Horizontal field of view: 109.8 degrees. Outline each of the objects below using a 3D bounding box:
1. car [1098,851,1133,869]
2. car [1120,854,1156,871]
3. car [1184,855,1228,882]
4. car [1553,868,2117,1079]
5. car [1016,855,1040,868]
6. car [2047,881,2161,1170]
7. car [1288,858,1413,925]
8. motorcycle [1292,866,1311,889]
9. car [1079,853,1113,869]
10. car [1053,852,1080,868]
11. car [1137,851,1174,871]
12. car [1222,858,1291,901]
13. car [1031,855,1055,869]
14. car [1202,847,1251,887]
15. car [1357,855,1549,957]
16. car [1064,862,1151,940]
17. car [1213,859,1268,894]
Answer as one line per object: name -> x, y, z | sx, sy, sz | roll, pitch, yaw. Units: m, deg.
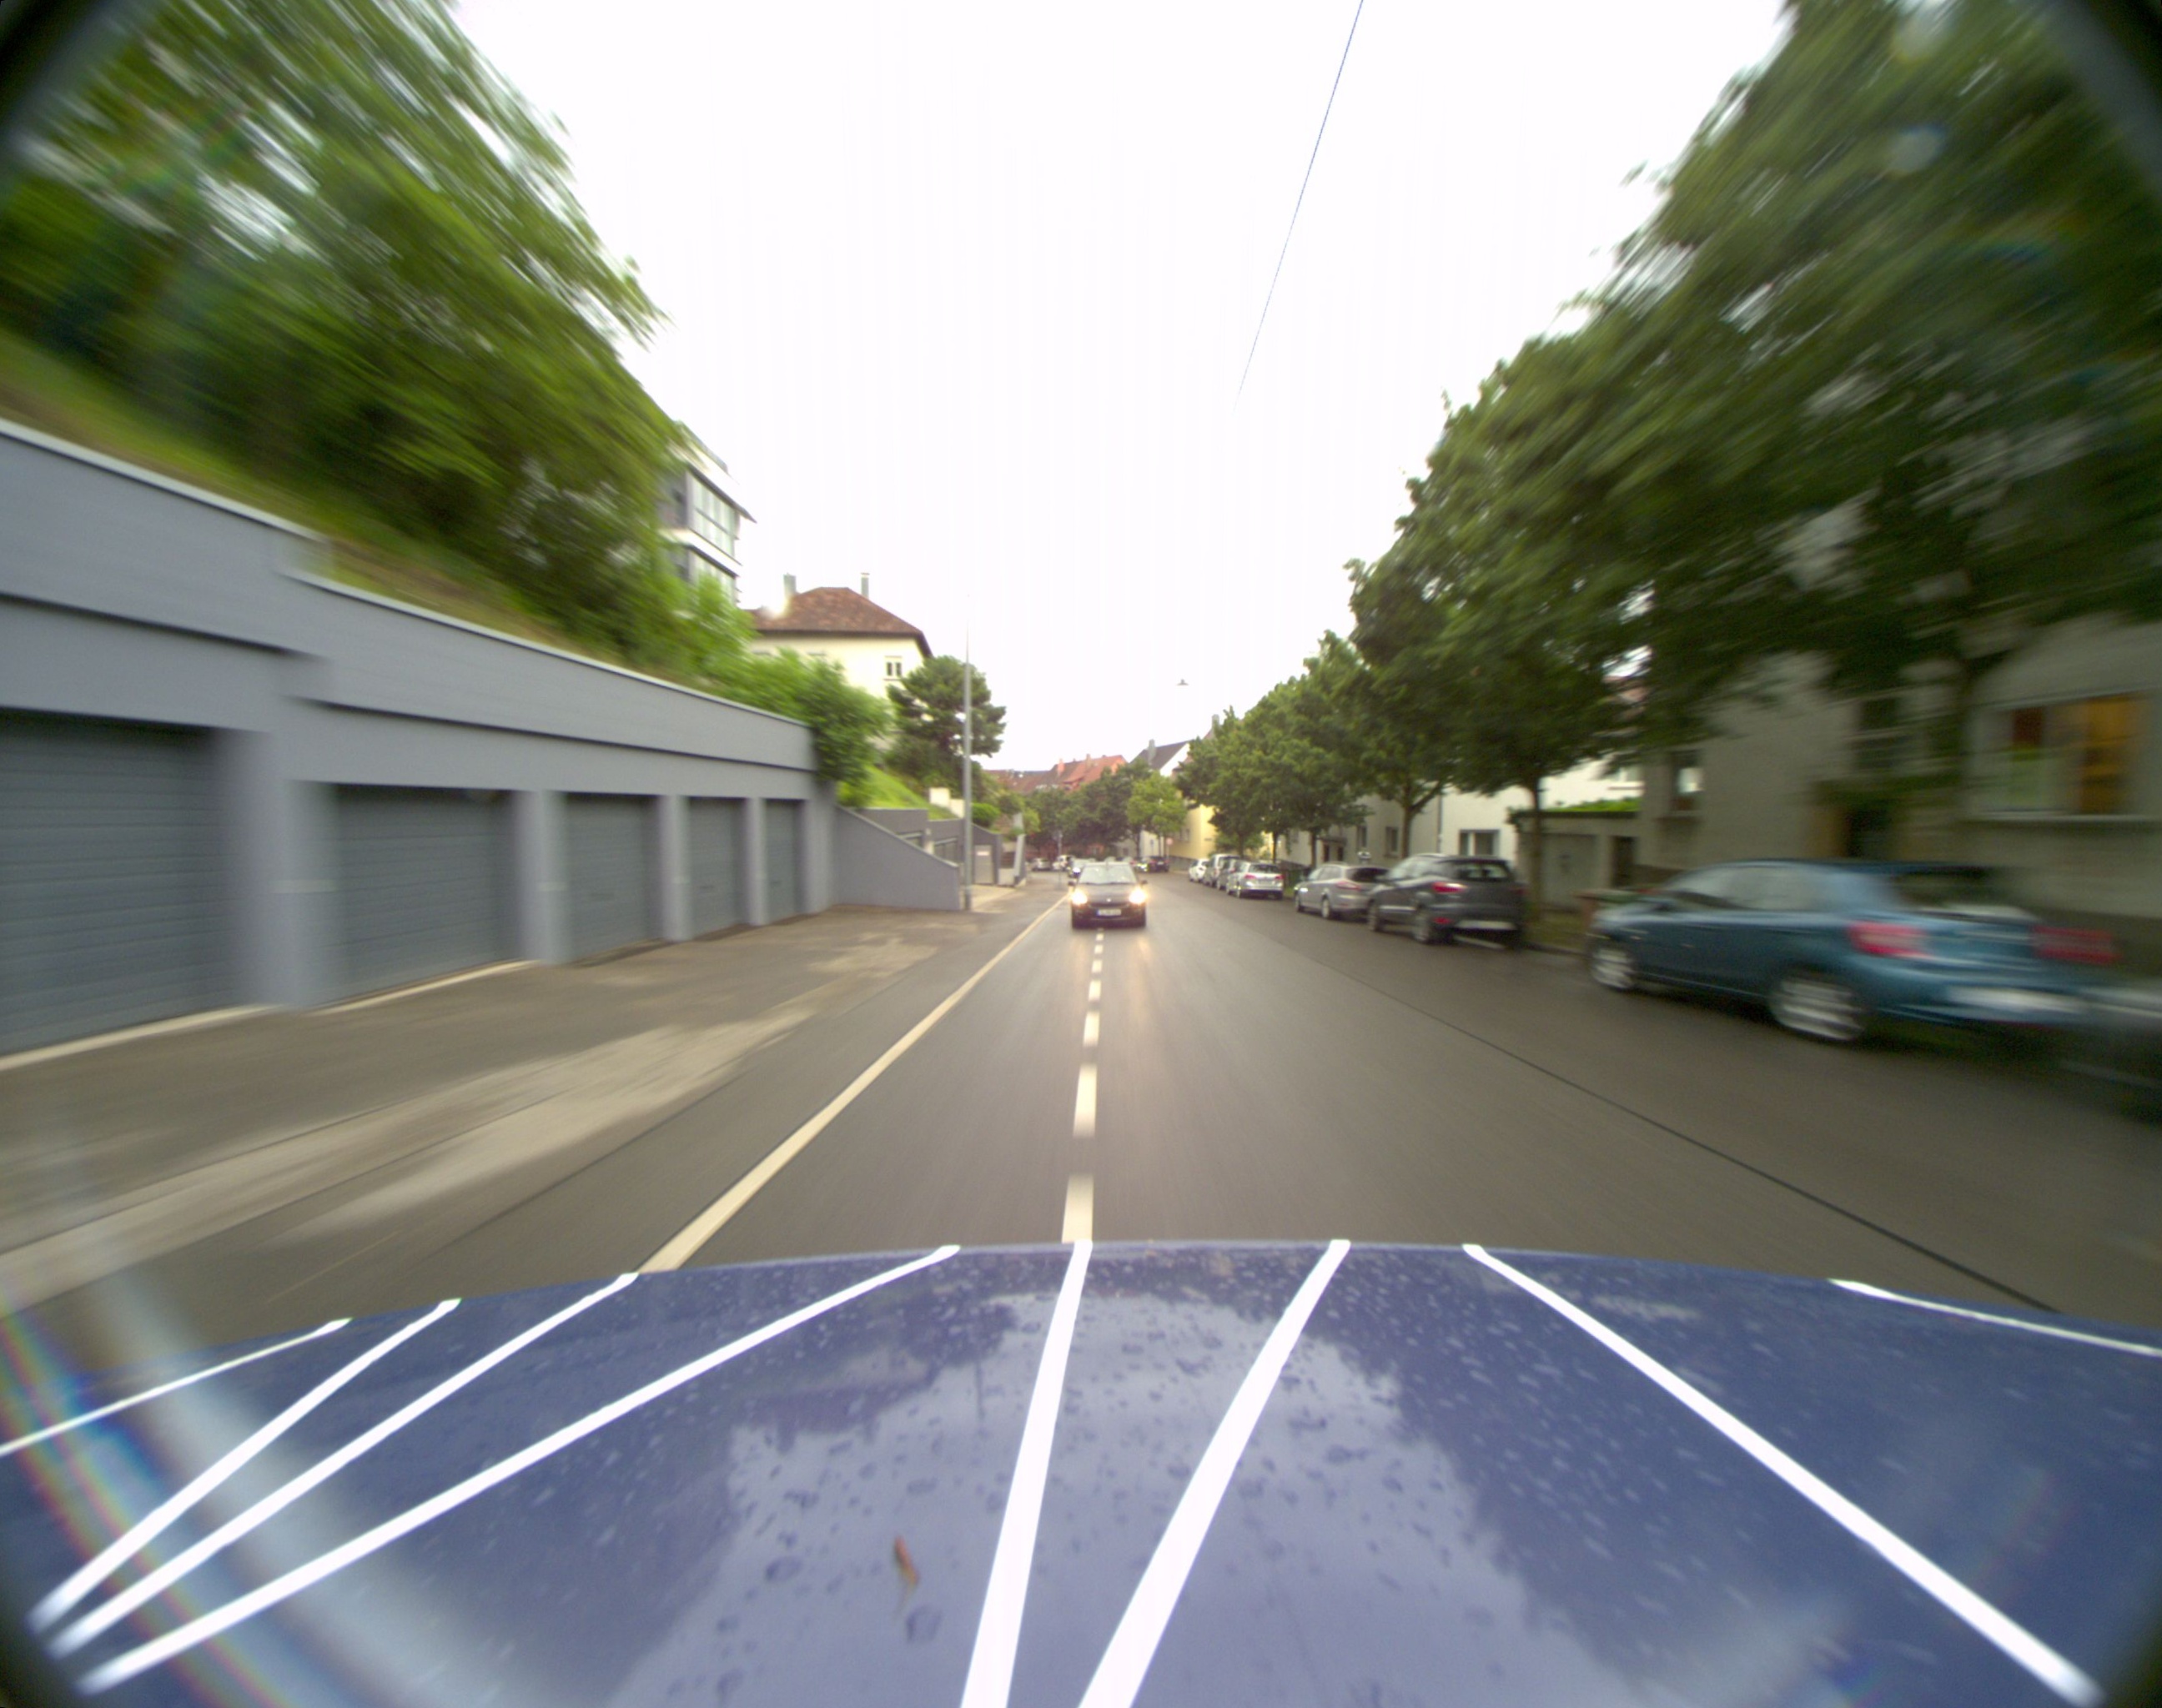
car -> 3.360, 0.617, 74.477 | 1.861, 1.680, 4.548 | -1, 0, -18
car -> 5.110, 0.737, 68.329 | 1.620, 1.388, 4.316 | -2, 0, -18
car -> 7.966, 0.876, 48.655 | 1.789, 1.506, 4.343 | 1, 2, -4
car -> 6.640, 0.902, 7.428 | 1.716, 1.454, 3.882 | -2, -1, 3
car -> -7.193, 1.019, 102.787 | 1.795, 1.631, 4.471 | -3, 0, -24
car -> 7.086, 0.899, 2.681 | 2.002, 1.383, 4.188 | -1, 1, -25
car -> 7.171, 0.923, 20.756 | 1.809, 1.543, 4.800 | 2, 0, 2
motorcycle -> 10.738, 1.135, 37.067 | 0.412, 1.092, 1.620 | 0, 0, -3
car -> 1.548, 0.773, 79.971 | 1.861, 1.490, 4.732 | -3, 0, -21
car -> -1.743, 0.715, 89.740 | 1.861, 1.766, 4.475 | -3, 0, -20
car -> 6.253, 0.537, 64.292 | 1.781, 1.531, 4.511 | -3, 1, -13
car -> 7.142, 0.992, 31.334 | 1.809, 1.445, 4.595 | -2, 2, 1
car -> -4.972, 1.020, 98.206 | 1.754, 1.680, 4.592 | -3, 0, -21
car -> 8.057, 0.680, 42.513 | 1.918, 1.990, 4.547 | -2, 2, 1
car -> 7.012, 0.886, 14.854 | 1.809, 1.617, 4.139 | -2, 1, 2
car -> 0.584, 0.963, 17.181 | 1.698, 1.456, 4.000 | -1, 0, 2
car -> 7.818, 1.060, 37.532 | 1.809, 1.477, 4.234 | 1, 2, 0
